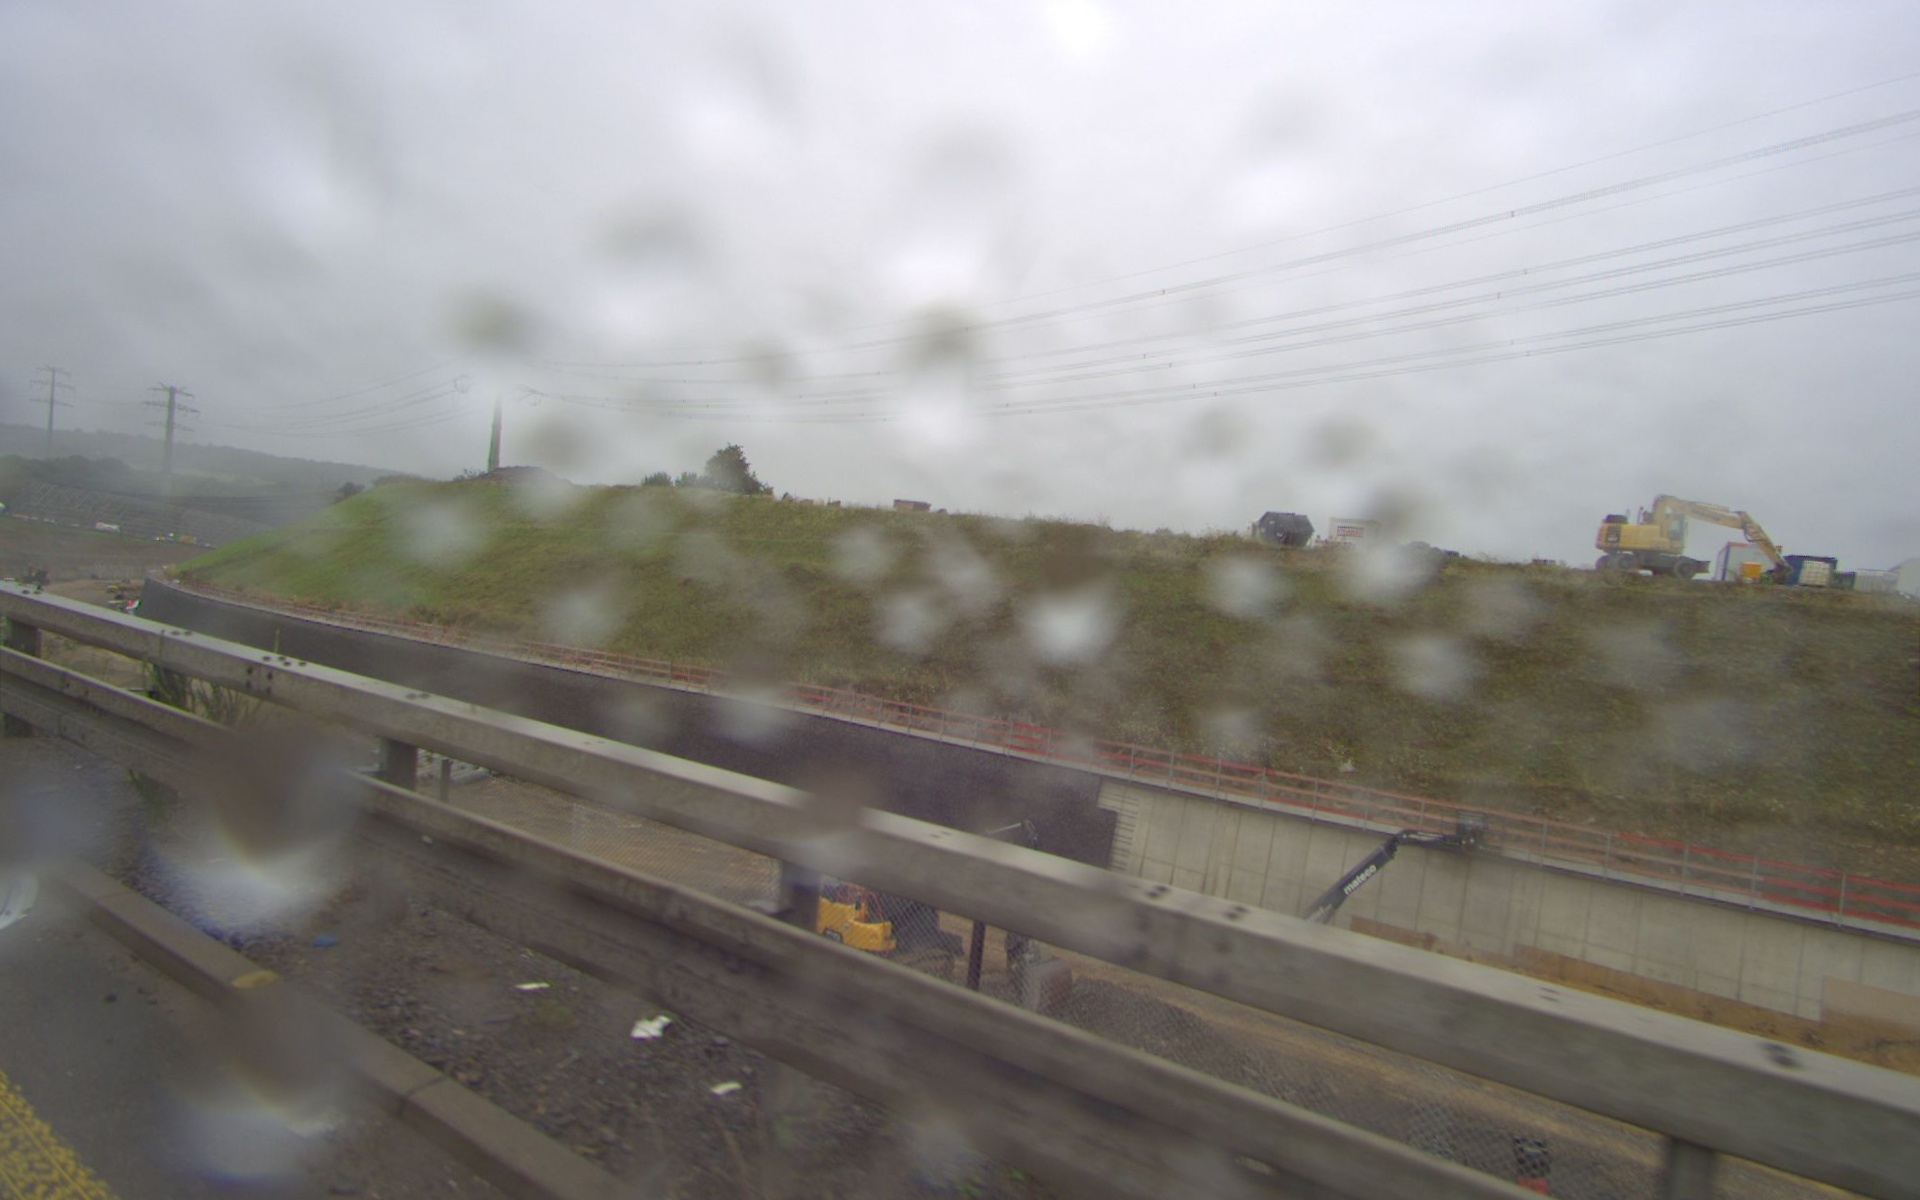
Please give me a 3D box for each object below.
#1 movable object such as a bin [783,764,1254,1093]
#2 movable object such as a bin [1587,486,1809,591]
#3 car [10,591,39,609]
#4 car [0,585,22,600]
[{"bbox_3d":[1.374,8.313,28.205,11.900,5.731,4.903,3,-4,34],"label":"movable object such as a bin"},{"bbox_3d":[35.447,-3.039,48.779,8.048,4.259,3.100,7,1,34],"label":"movable object such as a bin"},{"bbox_3d":[-131.916,0.032,141.855,3.942,2.037,2.365,6,-2,40],"label":"car"},{"bbox_3d":[-144.078,-1.132,152.699,3.945,1.837,1.991,6,-2,42],"label":"car"}]
